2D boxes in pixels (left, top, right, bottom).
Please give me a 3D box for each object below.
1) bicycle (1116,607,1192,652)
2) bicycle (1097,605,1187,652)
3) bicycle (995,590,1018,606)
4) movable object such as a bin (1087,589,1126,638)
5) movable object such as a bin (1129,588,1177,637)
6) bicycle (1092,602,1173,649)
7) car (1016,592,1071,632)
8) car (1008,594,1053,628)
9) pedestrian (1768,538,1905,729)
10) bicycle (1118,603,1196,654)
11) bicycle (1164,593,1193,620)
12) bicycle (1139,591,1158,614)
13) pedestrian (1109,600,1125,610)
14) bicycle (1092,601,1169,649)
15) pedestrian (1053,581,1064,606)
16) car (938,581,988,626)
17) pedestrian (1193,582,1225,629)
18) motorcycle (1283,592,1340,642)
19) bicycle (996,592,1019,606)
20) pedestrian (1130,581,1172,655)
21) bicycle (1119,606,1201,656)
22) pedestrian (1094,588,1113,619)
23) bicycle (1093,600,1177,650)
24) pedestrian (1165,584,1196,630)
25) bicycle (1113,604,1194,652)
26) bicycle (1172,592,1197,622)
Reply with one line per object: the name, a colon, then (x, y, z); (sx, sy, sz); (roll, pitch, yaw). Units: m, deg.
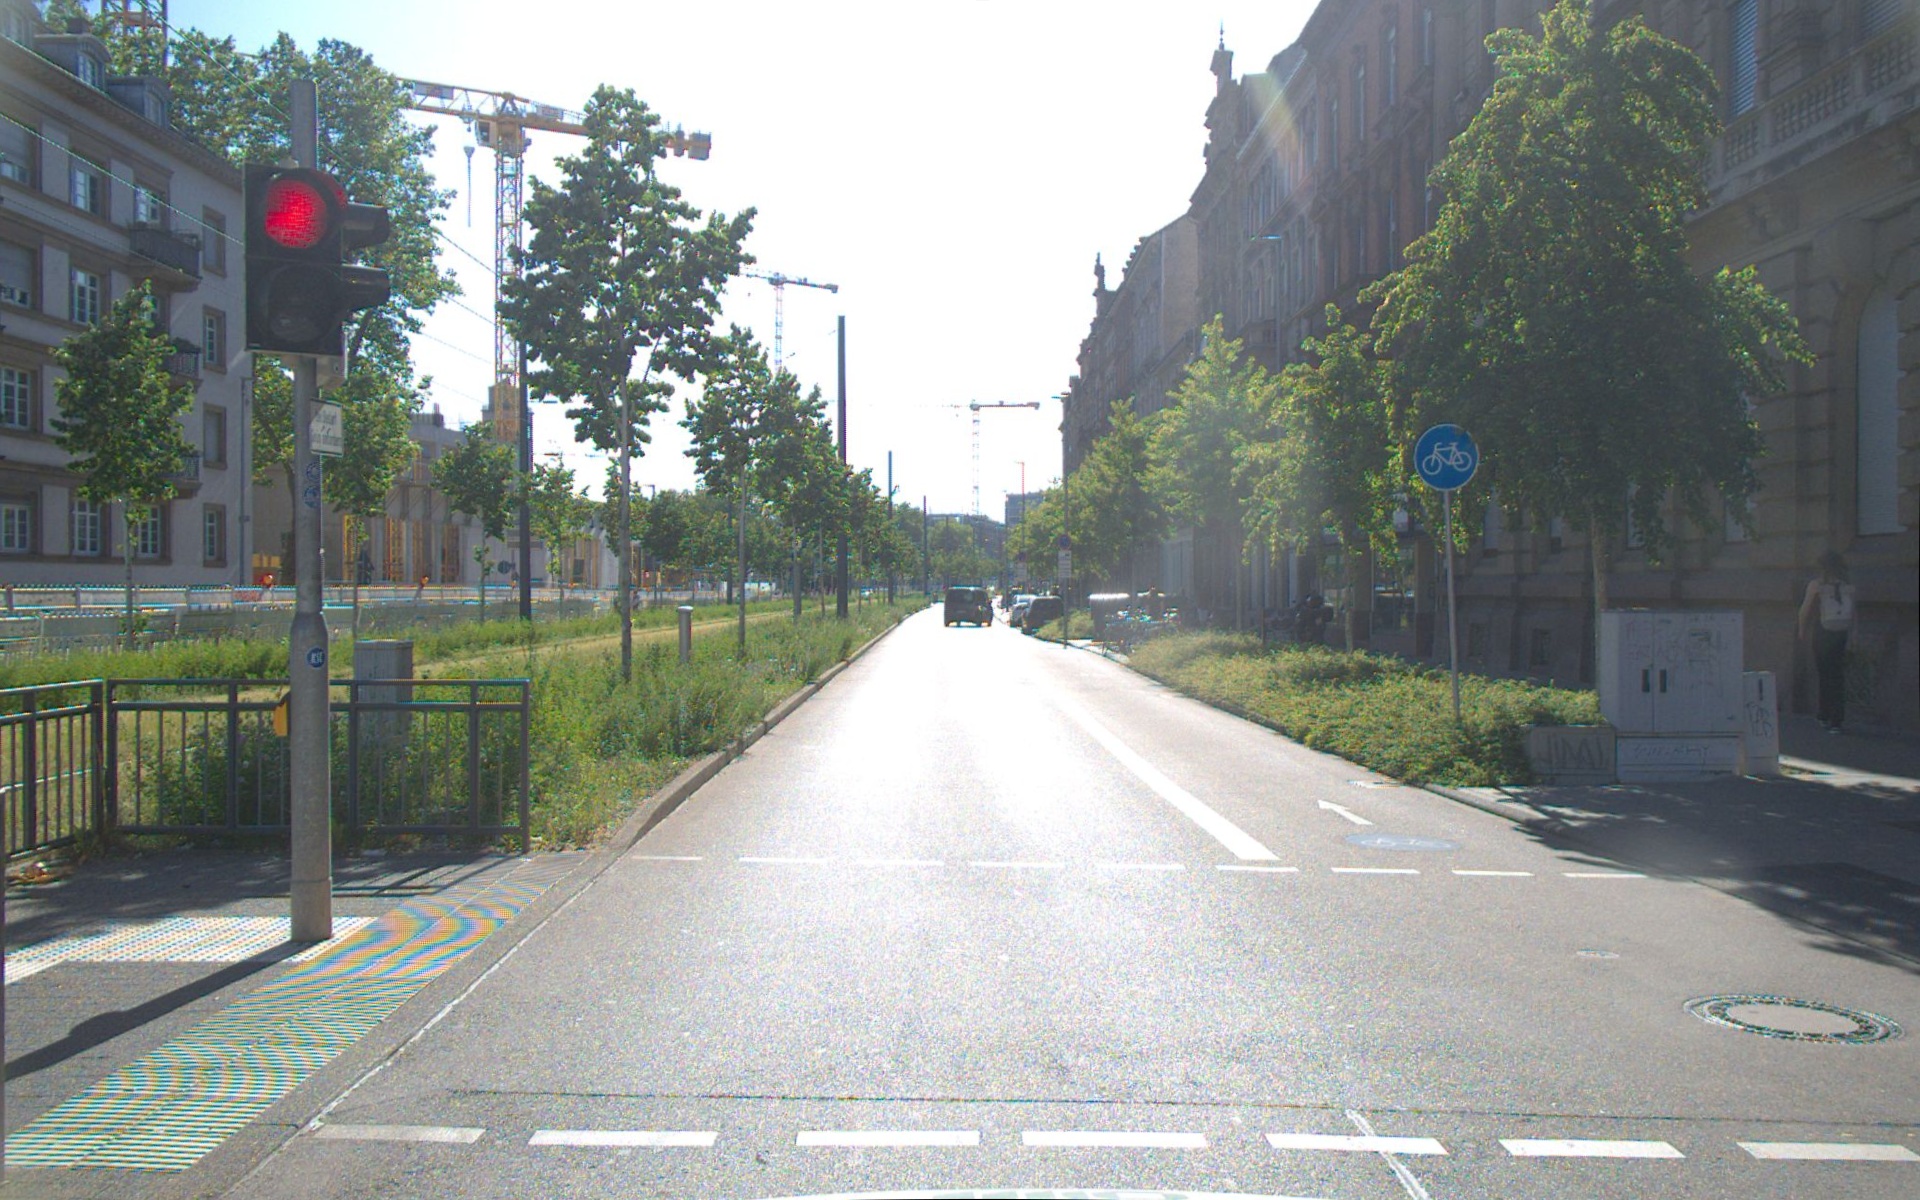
bicycle: (4.815, 0.729, 41.146); (1.780, 1.074, 0.571); (-2, 0, -7)
bicycle: (4.694, 0.728, 42.654); (2.247, 1.121, 0.484); (-2, 0, -15)
bicycle: (3.884, -0.142, 137.678); (1.843, 1.255, 0.499); (-3, 0, -6)
movable object such as a bin: (4.837, 0.437, 54.739); (1.244, 1.488, 1.645); (1, 2, 4)
movable object such as a bin: (6.400, 0.408, 54.936); (1.345, 1.521, 1.749); (-3, 0, 0)
bicycle: (4.591, 0.669, 44.080); (2.004, 1.126, 0.610); (-3, 0, -7)
car: (3.387, 0.482, 67.596); (1.730, 1.502, 4.446); (-2, 0, -3)
car: (3.387, 0.505, 80.303); (1.912, 1.521, 5.104); (-2, 0, 0)
pedestrian: (9.341, 0.348, 17.668); (0.871, 1.953, 1.098); (-2, 0, 4)
bicycle: (4.765, 0.679, 40.027); (1.829, 1.199, 0.373); (-1, 0, -4)
bicycle: (9.635, 0.270, 73.021); (0.858, 1.124, 2.180); (-3, 0, -3)
bicycle: (9.599, 0.112, 84.173); (0.706, 1.109, 2.198); (-1, 0, 0)
pedestrian: (9.586, 0.320, 100.981); (0.757, 0.562, 2.007); (-1, 1, -1)
bicycle: (4.580, 0.673, 44.488); (1.937, 1.143, 0.481); (-4, 1, -6)
pedestrian: (8.276, -0.505, 138.731); (0.801, 2.049, 1.046); (1, -2, -1)
car: (0.150, 0.176, 78.718); (1.951, 2.049, 4.003); (1, 0, 6)
pedestrian: (9.004, 0.190, 59.815); (0.951, 1.667, 0.992); (-1, 1, -1)
motorcycle: (9.442, 0.459, 44.500); (0.848, 1.288, 2.981); (1, 0, -1)
bicycle: (4.002, -0.070, 139.214); (1.790, 1.097, 0.664); (-3, 0, -7)
pedestrian: (4.766, 0.437, 41.358); (0.881, 1.766, 0.850); (-4, 0, 3)
bicycle: (4.790, 0.738, 39.673); (1.855, 1.128, 0.517); (-2, 0, -6)
pedestrian: (8.399, 0.196, 96.969); (0.976, 1.762, 0.866); (1, -1, -1)
bicycle: (4.553, 0.648, 42.996); (2.111, 1.174, 0.428); (-3, 1, -15)
pedestrian: (7.968, 0.250, 59.733); (0.931, 1.594, 1.080); (-1, 1, -1)
bicycle: (4.854, 0.697, 41.491); (1.938, 1.127, 0.435); (-2, 0, -4)
bicycle: (9.492, 0.289, 69.953); (0.732, 1.222, 1.800); (-1, 0, -1)
